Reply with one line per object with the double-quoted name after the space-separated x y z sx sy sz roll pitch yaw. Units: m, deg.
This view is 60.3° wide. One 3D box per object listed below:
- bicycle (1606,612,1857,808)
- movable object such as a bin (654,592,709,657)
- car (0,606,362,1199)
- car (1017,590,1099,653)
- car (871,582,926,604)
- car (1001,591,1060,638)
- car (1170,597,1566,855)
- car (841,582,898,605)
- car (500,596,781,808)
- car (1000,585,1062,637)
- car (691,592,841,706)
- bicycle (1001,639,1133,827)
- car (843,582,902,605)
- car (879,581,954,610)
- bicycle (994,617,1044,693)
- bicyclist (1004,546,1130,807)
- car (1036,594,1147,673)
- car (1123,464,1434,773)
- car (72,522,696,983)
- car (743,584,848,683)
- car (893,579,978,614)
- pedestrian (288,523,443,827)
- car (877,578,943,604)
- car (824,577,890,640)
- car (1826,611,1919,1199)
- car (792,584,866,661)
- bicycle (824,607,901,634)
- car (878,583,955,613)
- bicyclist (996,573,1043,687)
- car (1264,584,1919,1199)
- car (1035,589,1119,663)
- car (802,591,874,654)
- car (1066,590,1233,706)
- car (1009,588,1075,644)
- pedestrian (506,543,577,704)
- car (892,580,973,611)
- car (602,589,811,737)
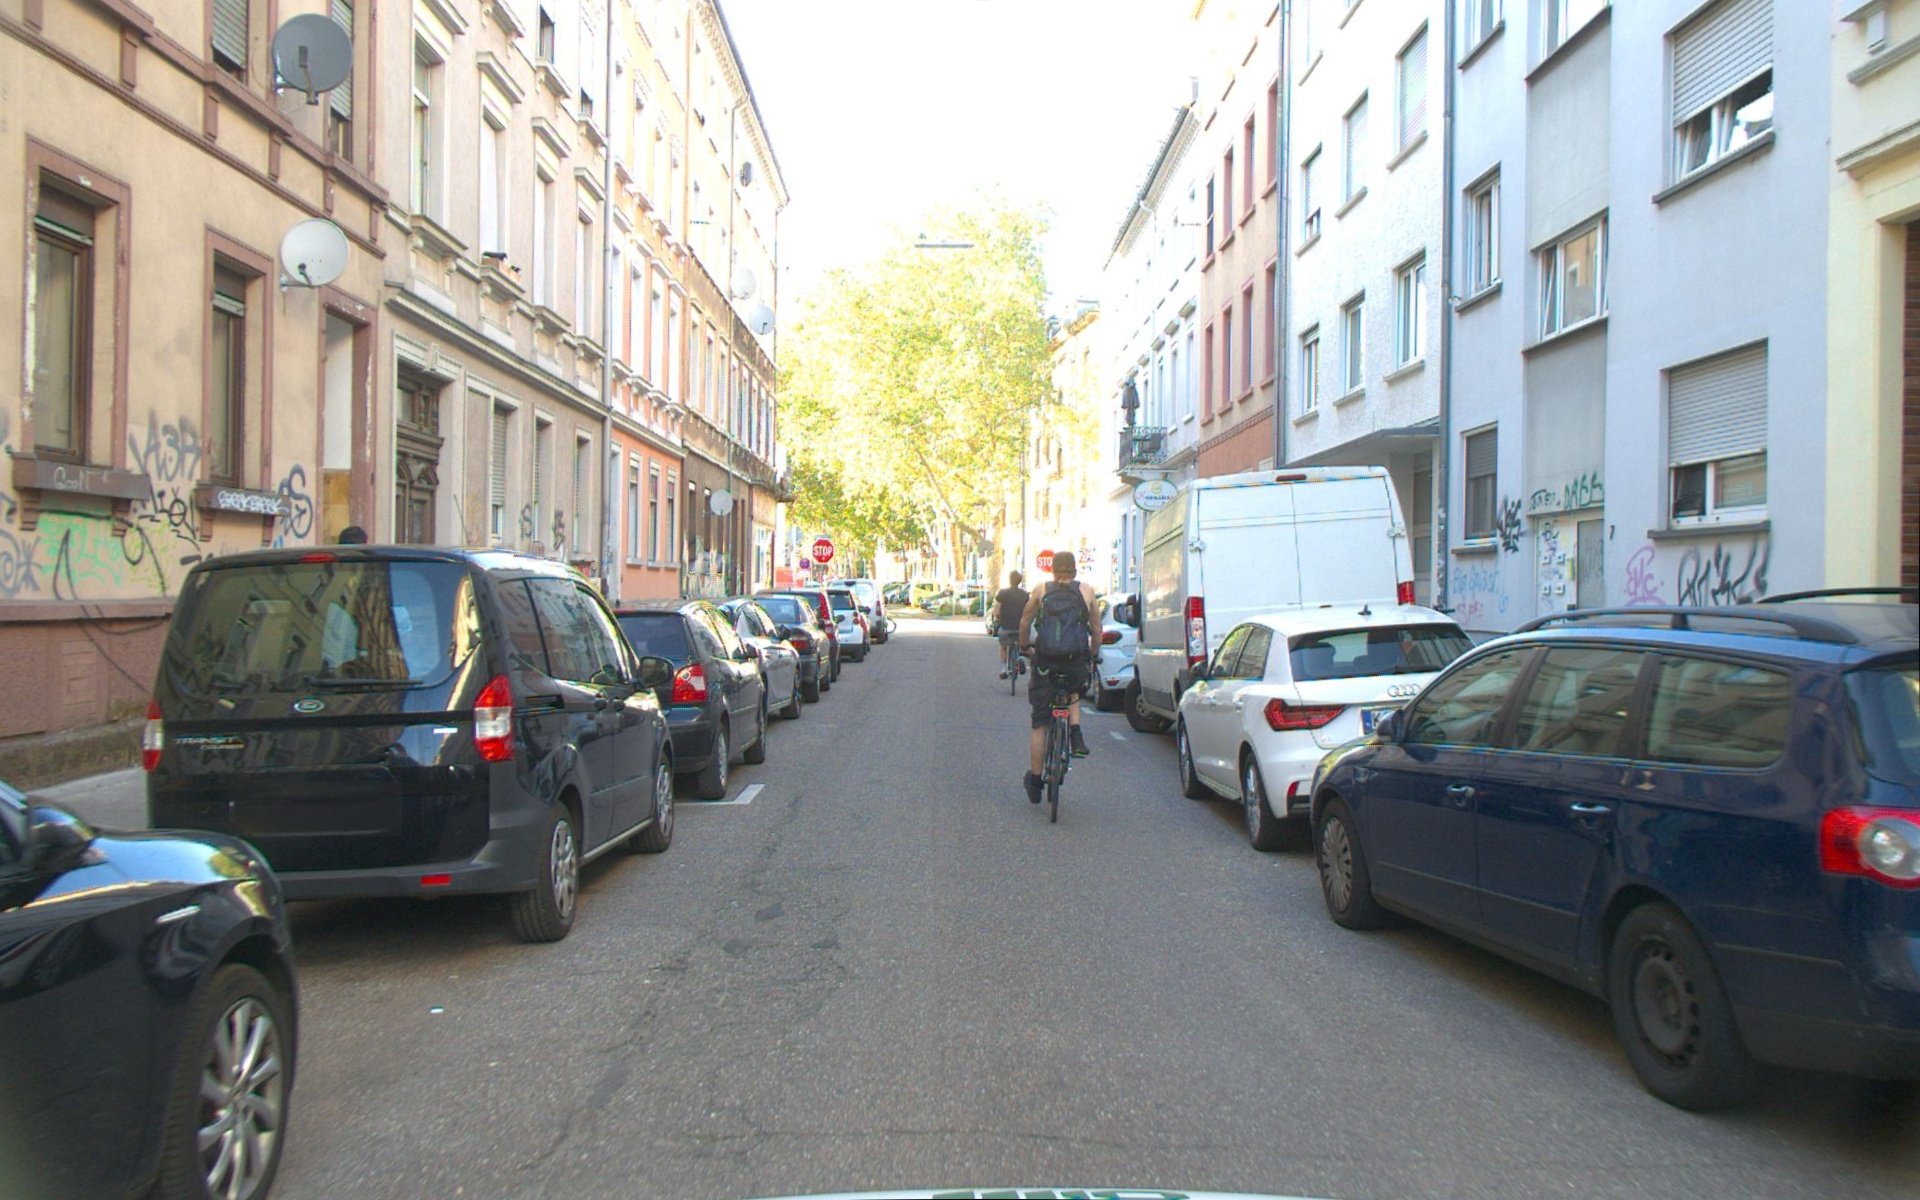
5.386 0.711 11.734 0.615 1.179 2.352 -3 0 0 "bicycle"
-5.214 0.457 30.993 0.817 1.146 0.716 -4 0 1 "movable object such as a bin"
-2.453 0.760 2.476 1.701 1.452 4.000 0 0 -1 "car"
2.411 0.506 41.695 1.676 1.496 3.998 0 0 -2 "car"
-5.028 -0.569 134.513 4.382 1.725 1.864 0 0 -5 "car"
2.280 0.452 54.376 1.653 1.497 3.573 0 0 -2 "car"
2.604 0.722 11.471 1.690 1.454 3.831 0 0 -2 "car"
-7.000 -0.510 128.013 4.382 1.725 1.864 0 0 -5 "car"
-2.436 0.709 13.414 1.559 1.465 3.653 0 0 0 "car"
2.499 0.375 59.288 1.855 1.800 3.998 0 0 -3 "car"
-2.651 0.621 23.447 1.671 1.438 4.301 0 0 -1 "car"
0.709 0.876 11.608 0.725 1.120 2.041 2 0 -1 "bicycle"
-6.672 -0.514 125.591 4.382 1.725 1.864 0 0 -5 "car"
-2.635 -0.283 98.981 4.382 1.725 1.864 0 0 -5 "car"
0.870 0.806 24.855 0.650 1.055 1.958 0 0 -1 "bicycle"
0.725 0.503 11.516 0.725 1.708 1.116 2 0 -1 "bicyclist"
2.415 0.581 31.146 1.624 1.361 3.998 0 0 -2 "car"
2.973 0.133 16.918 2.159 2.595 6.037 0 0 1 "car"
-2.557 0.579 8.433 1.764 1.728 3.999 -2 0 -1 "car"
-2.773 0.527 28.405 1.572 1.556 3.377 -1 0 -2 "car"
-1.337 -0.199 87.483 4.382 1.790 1.864 0 0 -5 "car"
-3.785 0.458 10.577 0.637 1.849 0.754 2 0 0 "pedestrian"
-3.396 -0.595 112.233 4.382 1.725 1.864 0 0 -5 "car"
-2.951 0.218 47.979 1.751 1.767 3.875 0 0 -1 "car"
2.846 0.798 1.639 1.711 1.511 4.242 0 0 -1 "car"
-2.799 0.452 35.779 1.514 1.578 3.462 0 0 -4 "car"
-3.366 0.713 57.363 2.662 0.907 0.618 0 0 -4 "bicycle"
-2.535 -0.102 96.530 4.382 1.725 1.864 0 0 -5 "car"
0.883 0.437 24.806 0.656 1.687 0.877 0 0 -1 "bicyclist"
2.866 0.745 6.423 1.778 1.503 4.597 -3 1 -10 "car"
2.517 0.528 36.239 1.559 1.518 3.875 0 0 0 "car"
-2.886 0.491 39.543 1.521 1.424 3.667 0 0 -1 "car"
2.587 0.606 23.443 1.697 1.496 4.018 0 0 -3 "car"
2.392 0.442 48.803 1.619 1.557 3.573 0 0 -2 "car"
-5.068 0.276 20.071 0.598 1.890 0.754 2 0 -1 "pedestrian"
-1.559 -0.274 92.260 4.382 1.725 1.864 0 0 -5 "car"
-2.697 0.616 18.386 1.639 1.455 3.889 0 0 1 "car"
